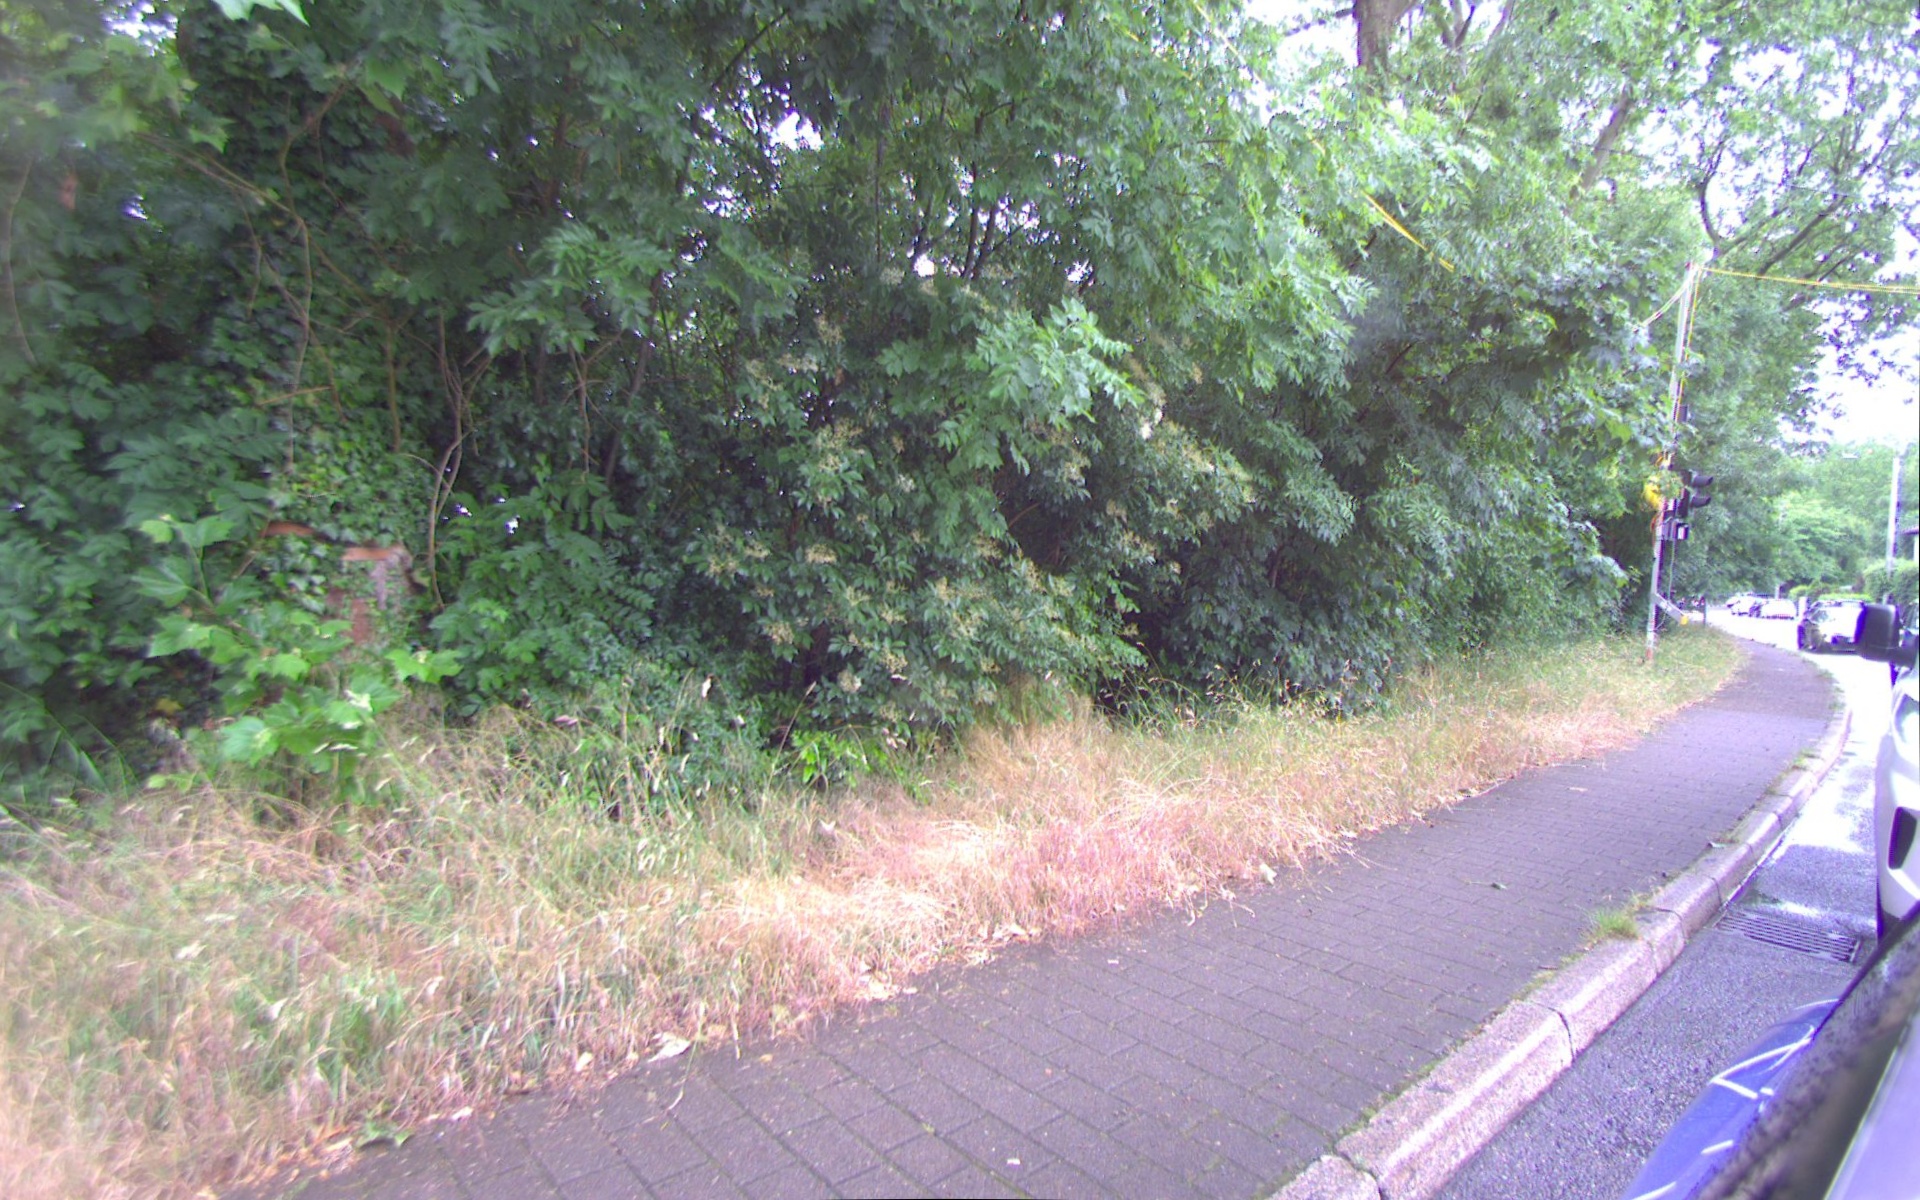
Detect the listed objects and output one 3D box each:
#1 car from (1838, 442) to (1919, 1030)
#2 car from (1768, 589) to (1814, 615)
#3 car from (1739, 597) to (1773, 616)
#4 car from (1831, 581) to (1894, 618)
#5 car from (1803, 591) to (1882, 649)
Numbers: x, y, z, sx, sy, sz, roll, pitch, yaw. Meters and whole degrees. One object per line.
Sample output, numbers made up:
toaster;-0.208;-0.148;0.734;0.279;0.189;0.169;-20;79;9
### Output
car;5.592;0.420;4.353;5.118;1.917;2.044;-1;0;-41
car;60.620;0.121;73.907;1.984;1.884;4.311;0;0;32
car;64.832;0.511;82.424;1.752;1.547;3.550;0;0;32
car;51.269;-0.059;57.598;1.984;2.039;3.955;0;0;32
car;26.112;0.609;30.022;1.663;1.610;3.946;0;-2;40
